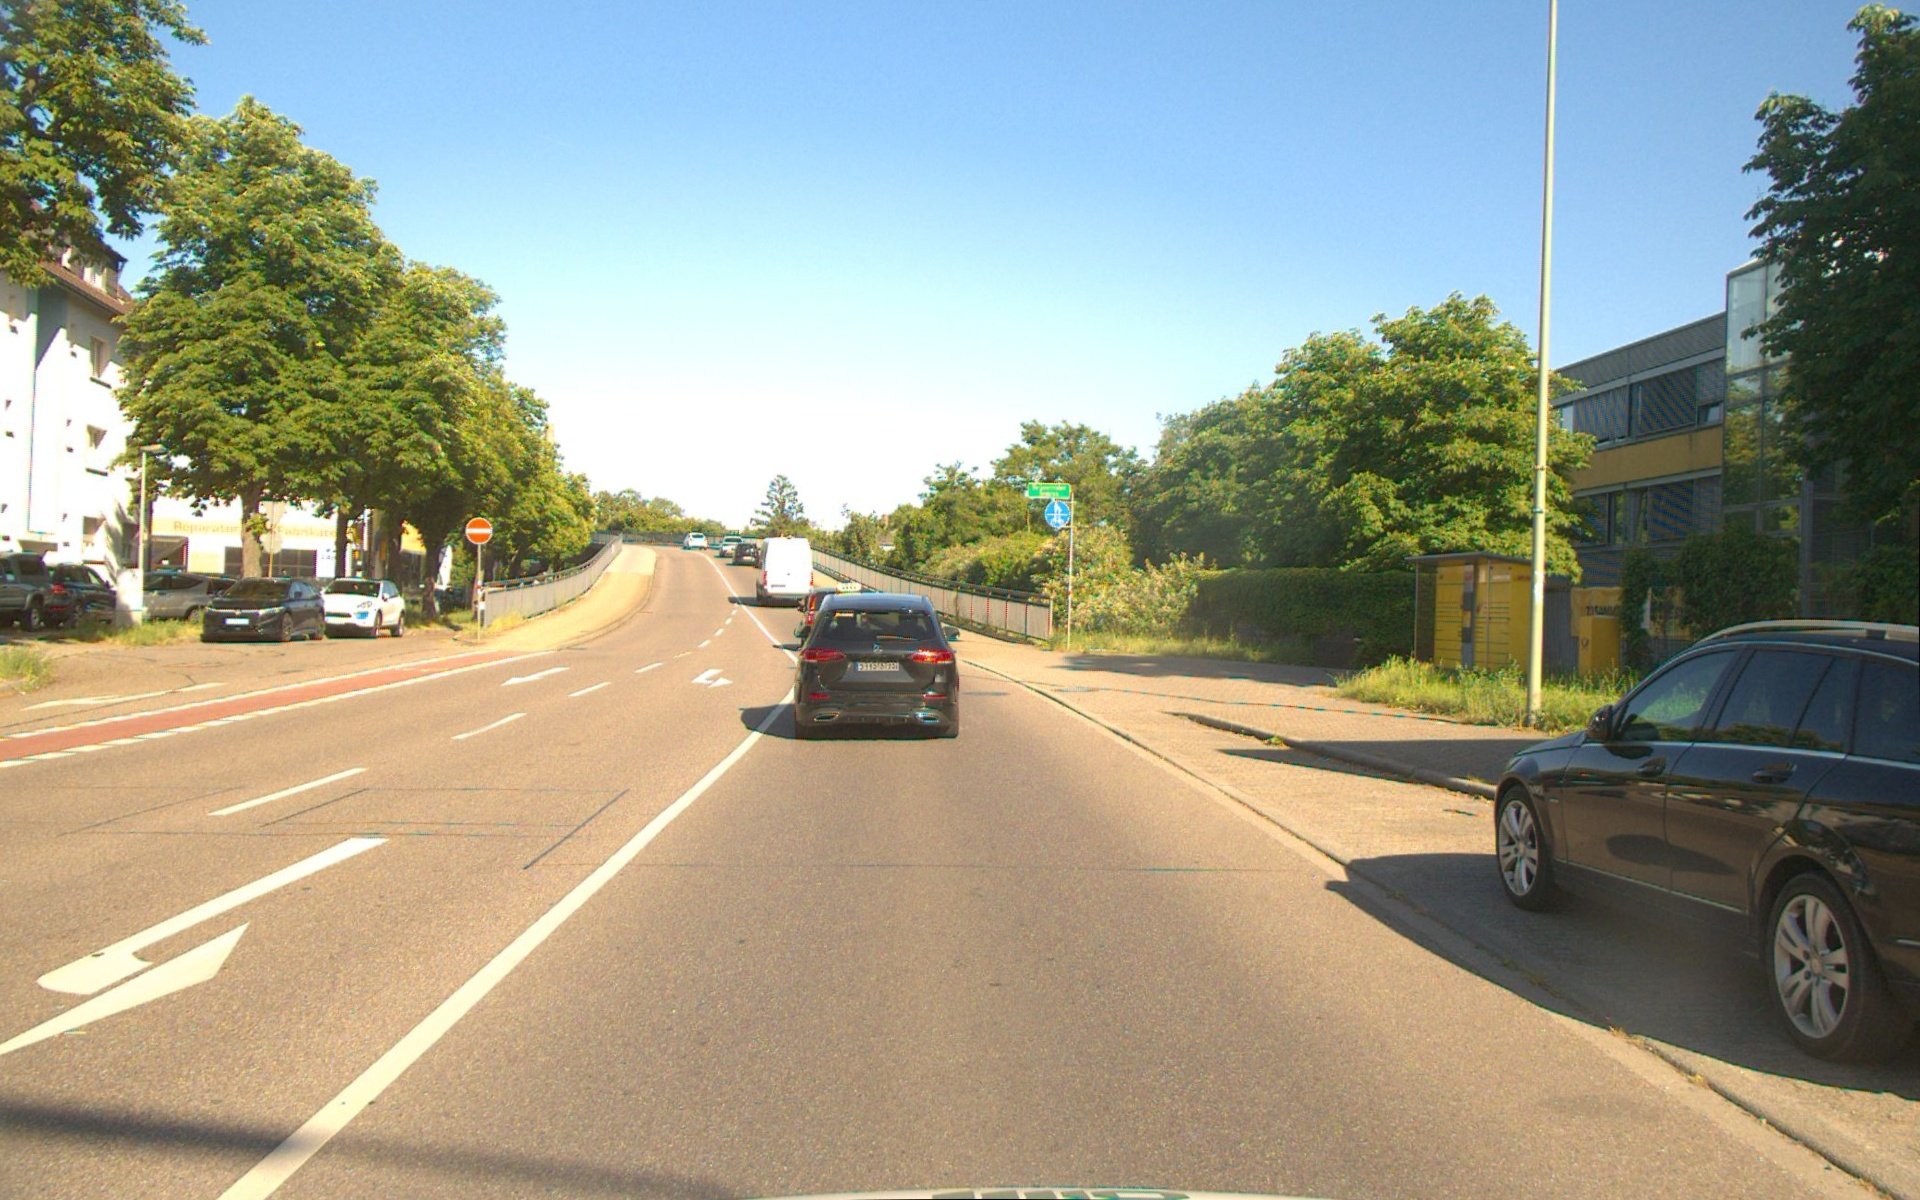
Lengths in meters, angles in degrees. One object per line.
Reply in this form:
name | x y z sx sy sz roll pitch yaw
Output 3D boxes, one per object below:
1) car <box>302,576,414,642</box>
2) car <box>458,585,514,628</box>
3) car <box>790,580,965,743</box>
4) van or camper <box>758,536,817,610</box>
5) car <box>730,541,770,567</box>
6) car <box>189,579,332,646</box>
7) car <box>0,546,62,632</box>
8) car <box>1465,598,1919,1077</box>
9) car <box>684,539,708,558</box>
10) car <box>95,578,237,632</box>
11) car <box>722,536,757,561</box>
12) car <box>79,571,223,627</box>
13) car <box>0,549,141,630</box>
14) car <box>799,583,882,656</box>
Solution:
car | -17.661 0.239 48.777 1.999 1.759 5.227 2 0 -8
car | -23.857 0.305 83.353 1.886 2.026 4.253 2 0 -5
car | -1.024 0.631 18.802 1.735 1.620 3.984 2 0 -6
van or camper | -7.017 -1.086 66.919 2.184 2.787 7.070 2 1 -7
car | -13.477 -2.934 106.424 1.878 1.514 4.271 0 -1 2
car | -17.088 0.278 40.677 1.999 1.489 4.952 2 0 -8
car | -22.816 -0.274 38.351 1.714 1.964 5.095 2 0 -7
car | 3.742 0.740 6.822 1.772 1.444 4.422 1 0 -3
car | -23.791 -4.619 149.073 1.844 1.570 3.987 2 1 -13
car | -25.080 0.146 52.244 3.944 1.625 1.981 0 1 -30
car | -16.335 -3.821 122.513 1.952 1.709 4.000 0 0 1
car | -24.101 -0.013 49.318 3.627 1.536 1.763 2 0 -35
car | -23.488 -0.267 43.498 2.031 1.964 4.778 2 0 -8
car | -2.995 0.474 40.724 1.770 1.669 3.993 2 -1 -8
